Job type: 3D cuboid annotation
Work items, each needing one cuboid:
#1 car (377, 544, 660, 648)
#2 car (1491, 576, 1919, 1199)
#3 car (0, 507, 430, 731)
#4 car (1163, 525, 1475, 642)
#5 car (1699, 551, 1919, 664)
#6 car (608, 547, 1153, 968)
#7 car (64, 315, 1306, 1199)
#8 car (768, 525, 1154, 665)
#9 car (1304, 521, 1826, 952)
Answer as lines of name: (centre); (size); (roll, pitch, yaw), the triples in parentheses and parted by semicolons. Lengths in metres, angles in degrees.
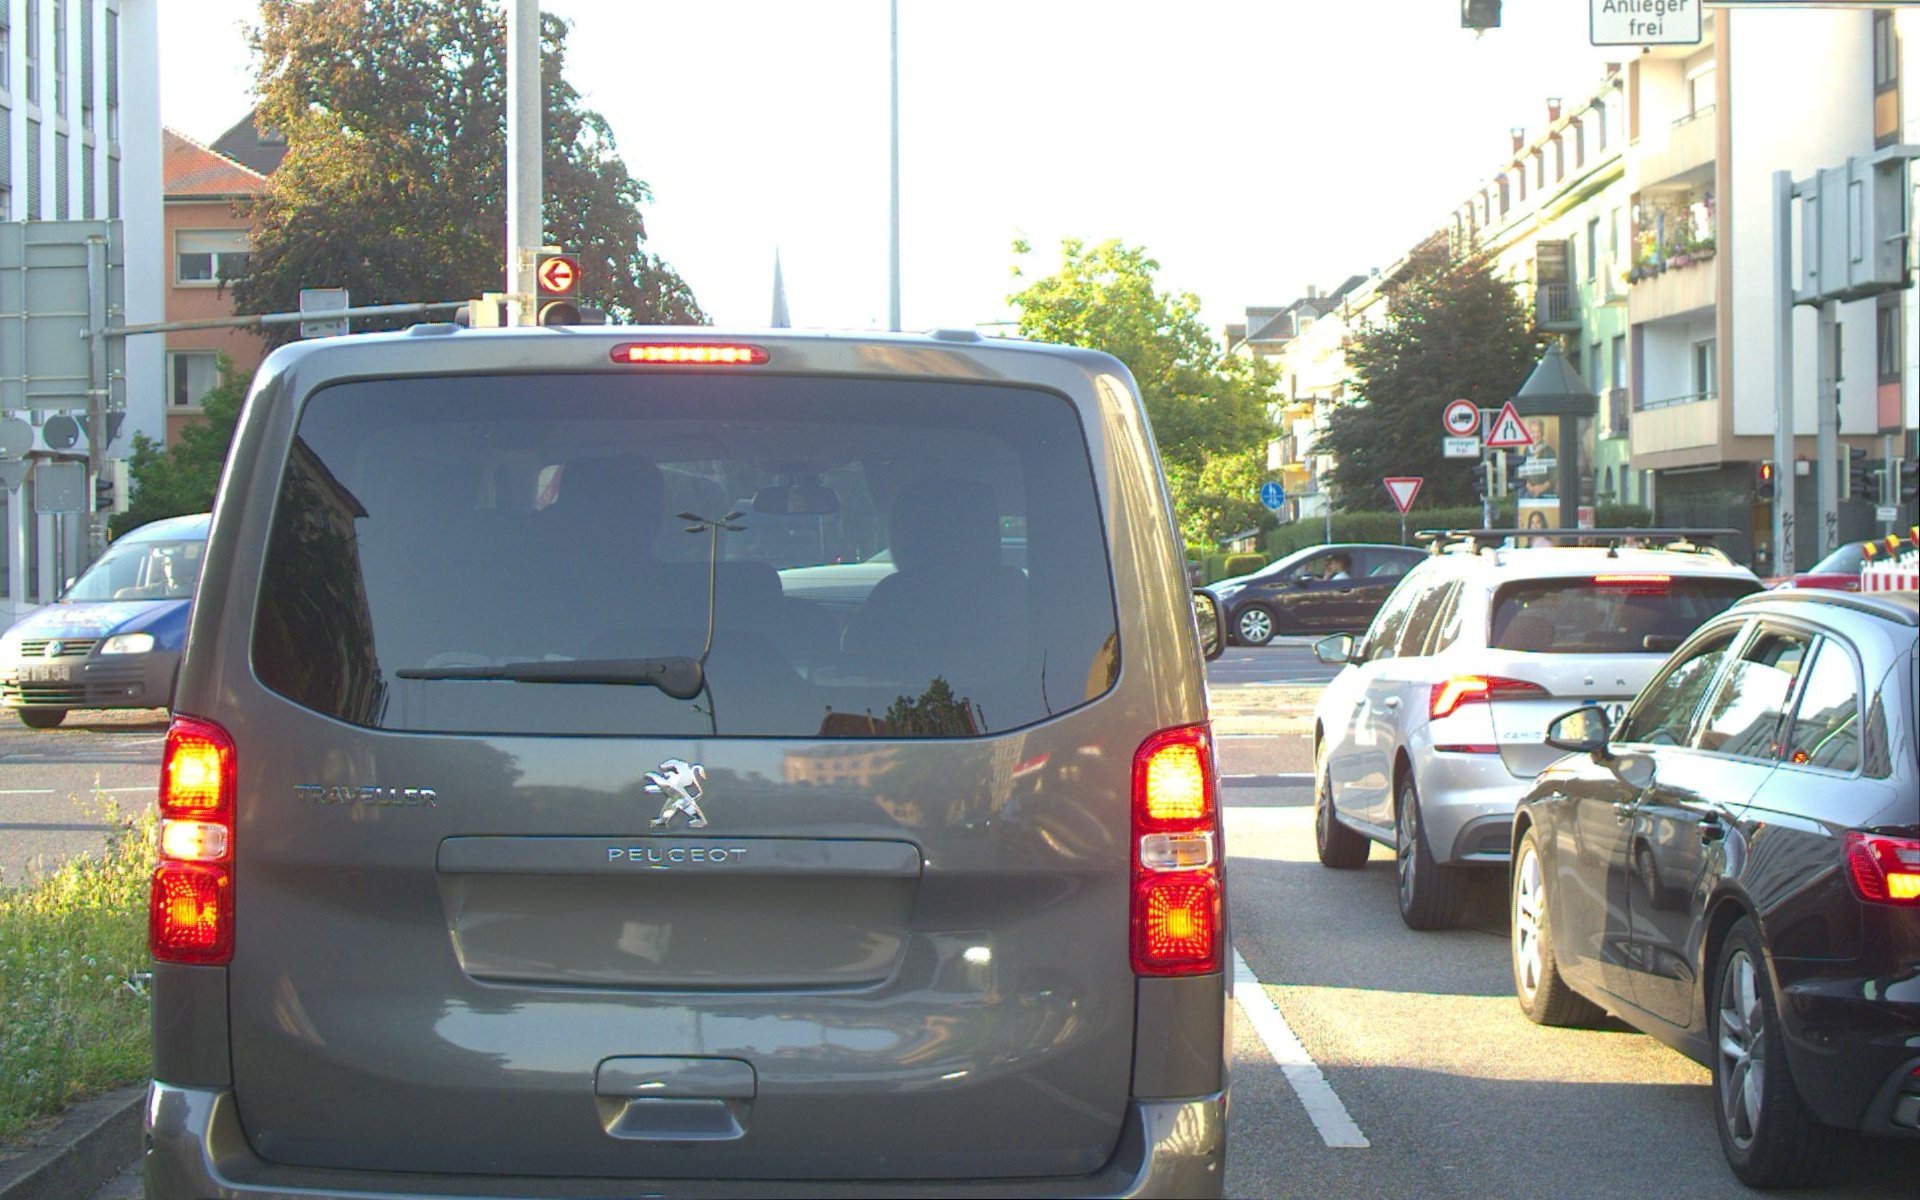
car: (-6.020, -0.064, 47.117); (3.781, 1.368, 1.651); (-1, 1, -6)
car: (2.631, 0.679, 9.236); (1.681, 1.416, 4.214); (1, 1, -1)
car: (-6.737, 0.112, 30.241); (1.996, 1.811, 4.223); (0, 1, 27)
car: (5.069, -0.239, 48.818); (4.117, 1.588, 1.795); (-1, 0, -5)
car: (11.856, 0.072, 44.859); (3.986, 1.413, 1.682); (-1, 1, -11)
car: (-0.315, 0.548, 14.632); (1.993, 1.525, 4.000); (0, 1, -1)
car: (-0.459, 0.464, 7.608); (1.907, 1.857, 4.527); (1, 1, -1)
car: (0.051, -0.088, 38.198); (4.230, 1.437, 1.702); (-2, 1, -42)
car: (2.479, 0.485, 14.891); (1.528, 1.608, 3.745); (1, 1, -1)
